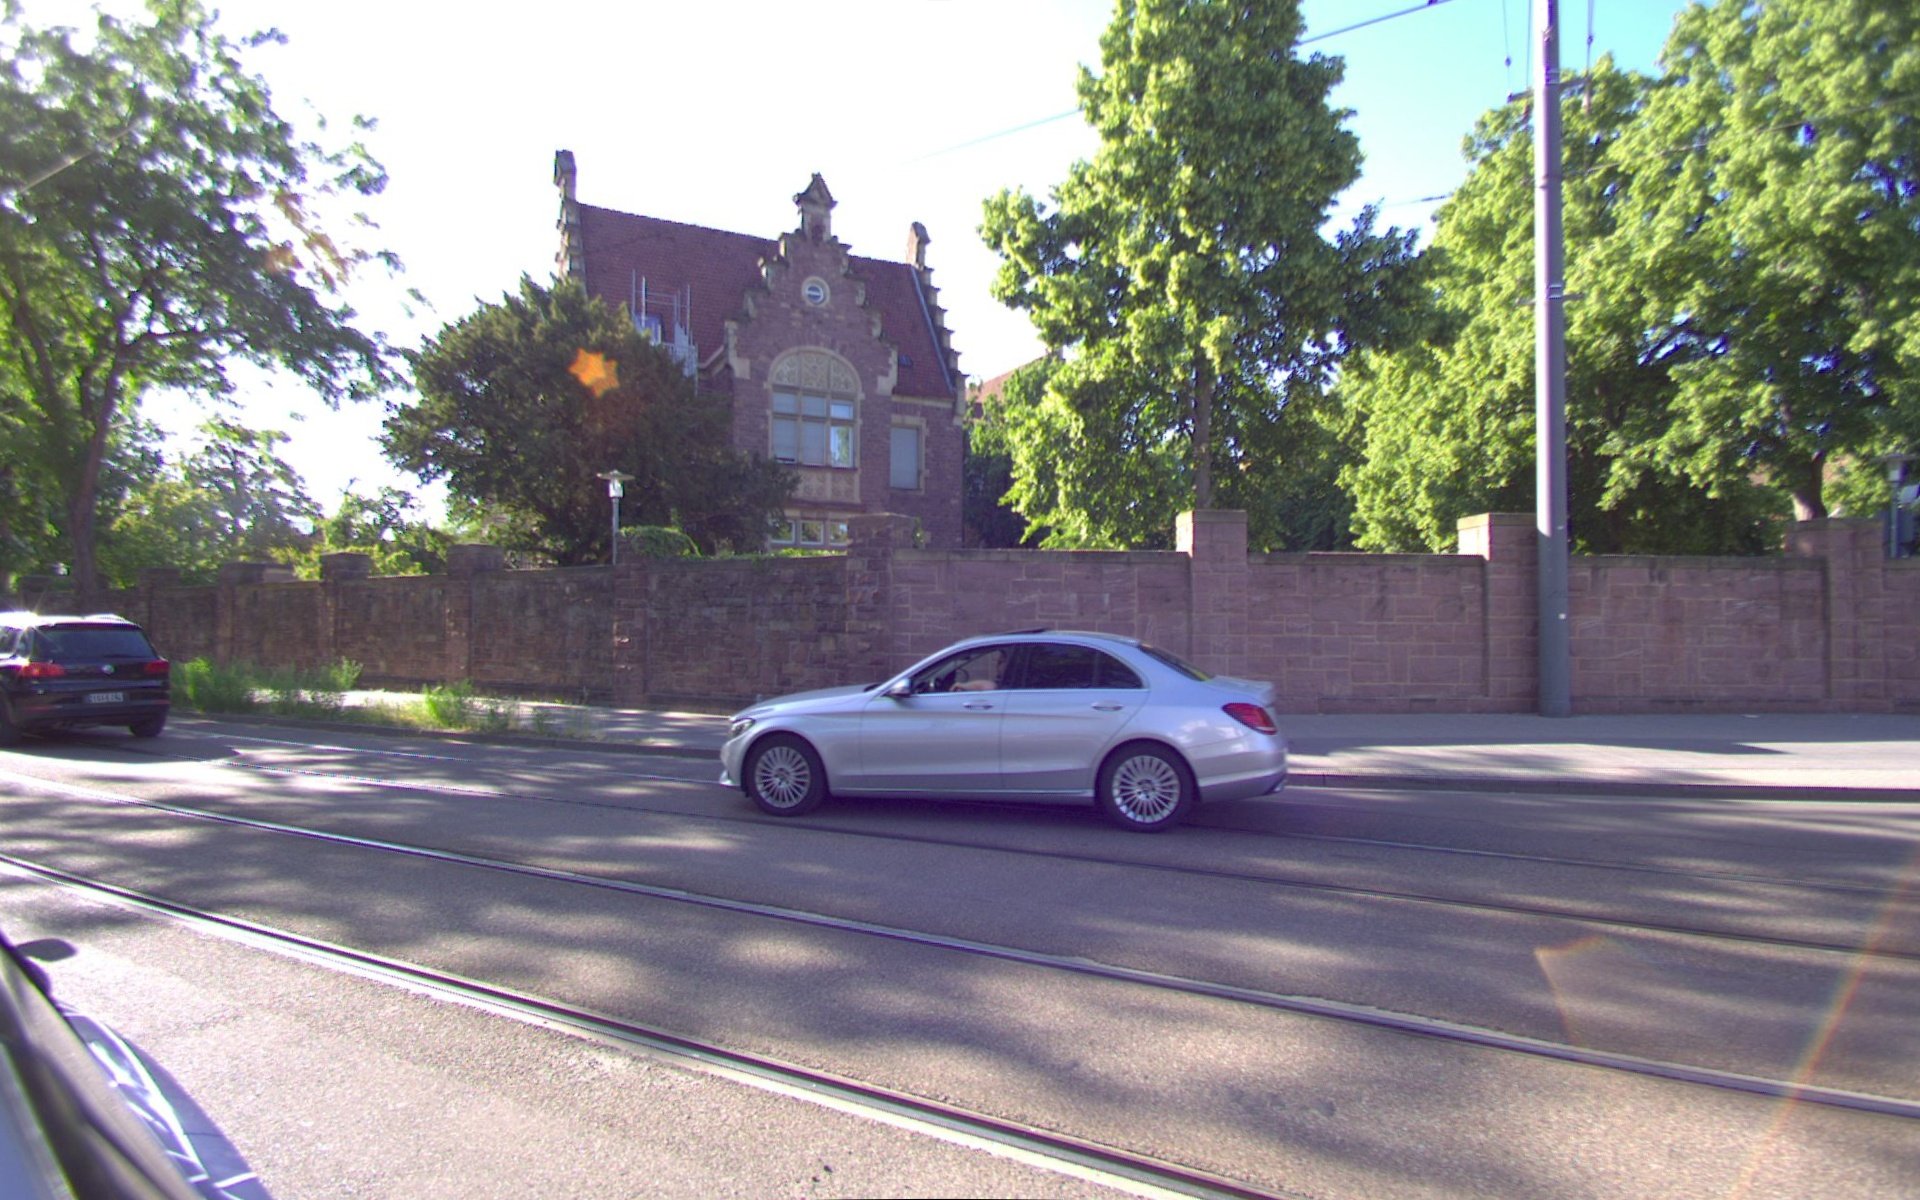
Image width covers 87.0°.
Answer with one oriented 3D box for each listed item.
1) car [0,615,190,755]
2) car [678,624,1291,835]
[{"bbox_3d":[-12.546,1.061,13.697,4.098,1.650,1.785,-1,-3,27],"label":"car"},{"bbox_3d":[0.215,0.941,8.348,4.577,1.426,1.881,-1,-1,13],"label":"car"}]
